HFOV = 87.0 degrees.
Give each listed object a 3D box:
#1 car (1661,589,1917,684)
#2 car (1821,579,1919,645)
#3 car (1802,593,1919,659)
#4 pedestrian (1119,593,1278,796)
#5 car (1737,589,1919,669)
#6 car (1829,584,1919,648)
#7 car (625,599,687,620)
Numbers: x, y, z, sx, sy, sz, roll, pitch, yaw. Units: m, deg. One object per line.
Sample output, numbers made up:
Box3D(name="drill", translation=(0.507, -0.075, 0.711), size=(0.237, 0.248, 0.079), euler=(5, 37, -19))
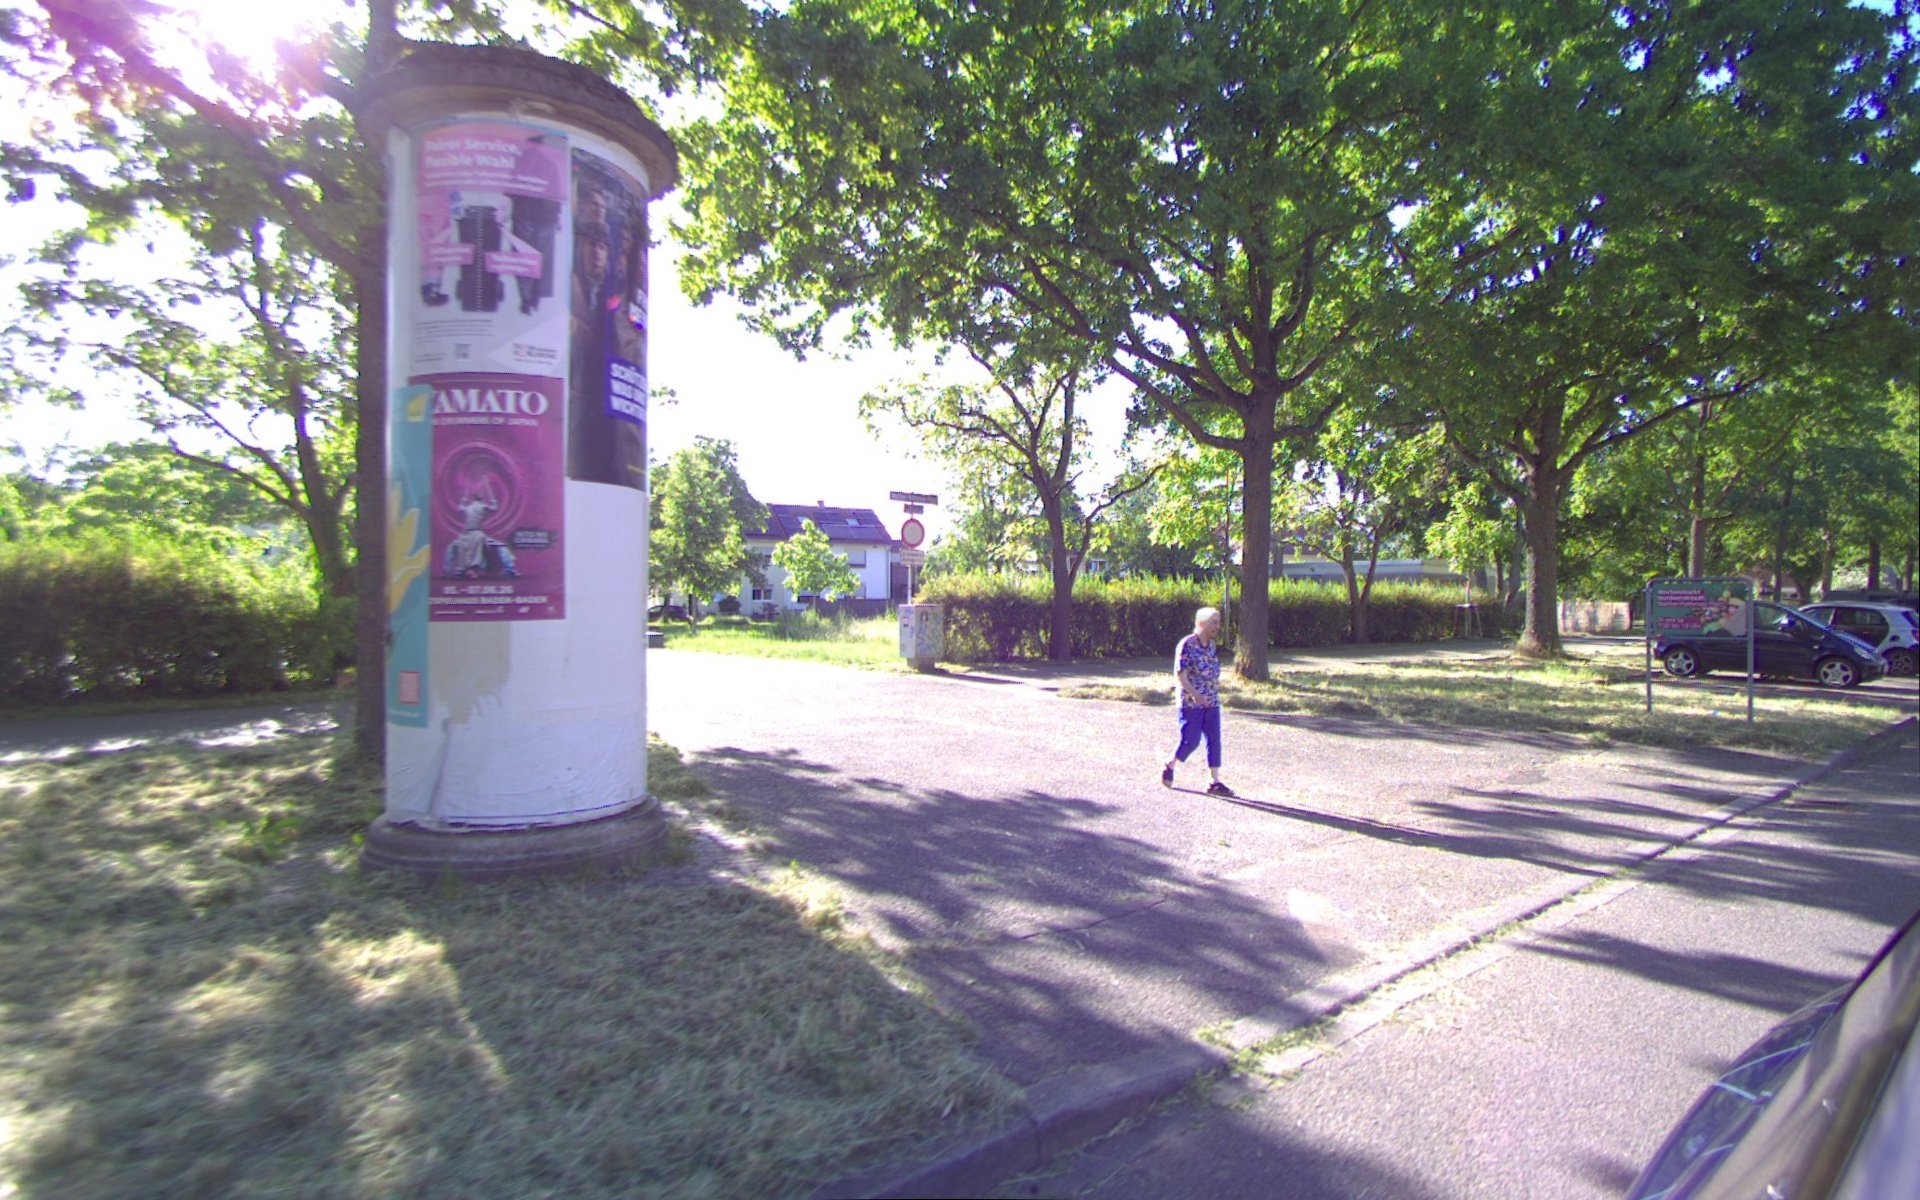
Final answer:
Box3D(name="car", translation=(16.068, 0.627, 19.736), size=(1.825, 1.596, 3.590), euler=(0, 2, -41))
Box3D(name="car", translation=(30.835, 0.387, 32.333), size=(1.910, 2.057, 4.812), euler=(0, 1, -40))
Box3D(name="car", translation=(23.619, 0.651, 25.414), size=(1.635, 1.551, 3.530), euler=(0, 2, -38))
Box3D(name="pedestrian", translation=(1.917, 0.720, 8.238), size=(0.866, 1.519, 0.945), euler=(1, 0, -18))
Box3D(name="car", translation=(19.901, 0.605, 22.706), size=(1.754, 1.596, 3.593), euler=(0, 2, -38))
Box3D(name="car", translation=(29.131, 0.479, 30.685), size=(1.769, 1.860, 4.014), euler=(0, 2, -42))
Box3D(name="car", translation=(-20.694, 0.624, 68.960), size=(3.916, 1.397, 1.666), euler=(0, 0, -13))
